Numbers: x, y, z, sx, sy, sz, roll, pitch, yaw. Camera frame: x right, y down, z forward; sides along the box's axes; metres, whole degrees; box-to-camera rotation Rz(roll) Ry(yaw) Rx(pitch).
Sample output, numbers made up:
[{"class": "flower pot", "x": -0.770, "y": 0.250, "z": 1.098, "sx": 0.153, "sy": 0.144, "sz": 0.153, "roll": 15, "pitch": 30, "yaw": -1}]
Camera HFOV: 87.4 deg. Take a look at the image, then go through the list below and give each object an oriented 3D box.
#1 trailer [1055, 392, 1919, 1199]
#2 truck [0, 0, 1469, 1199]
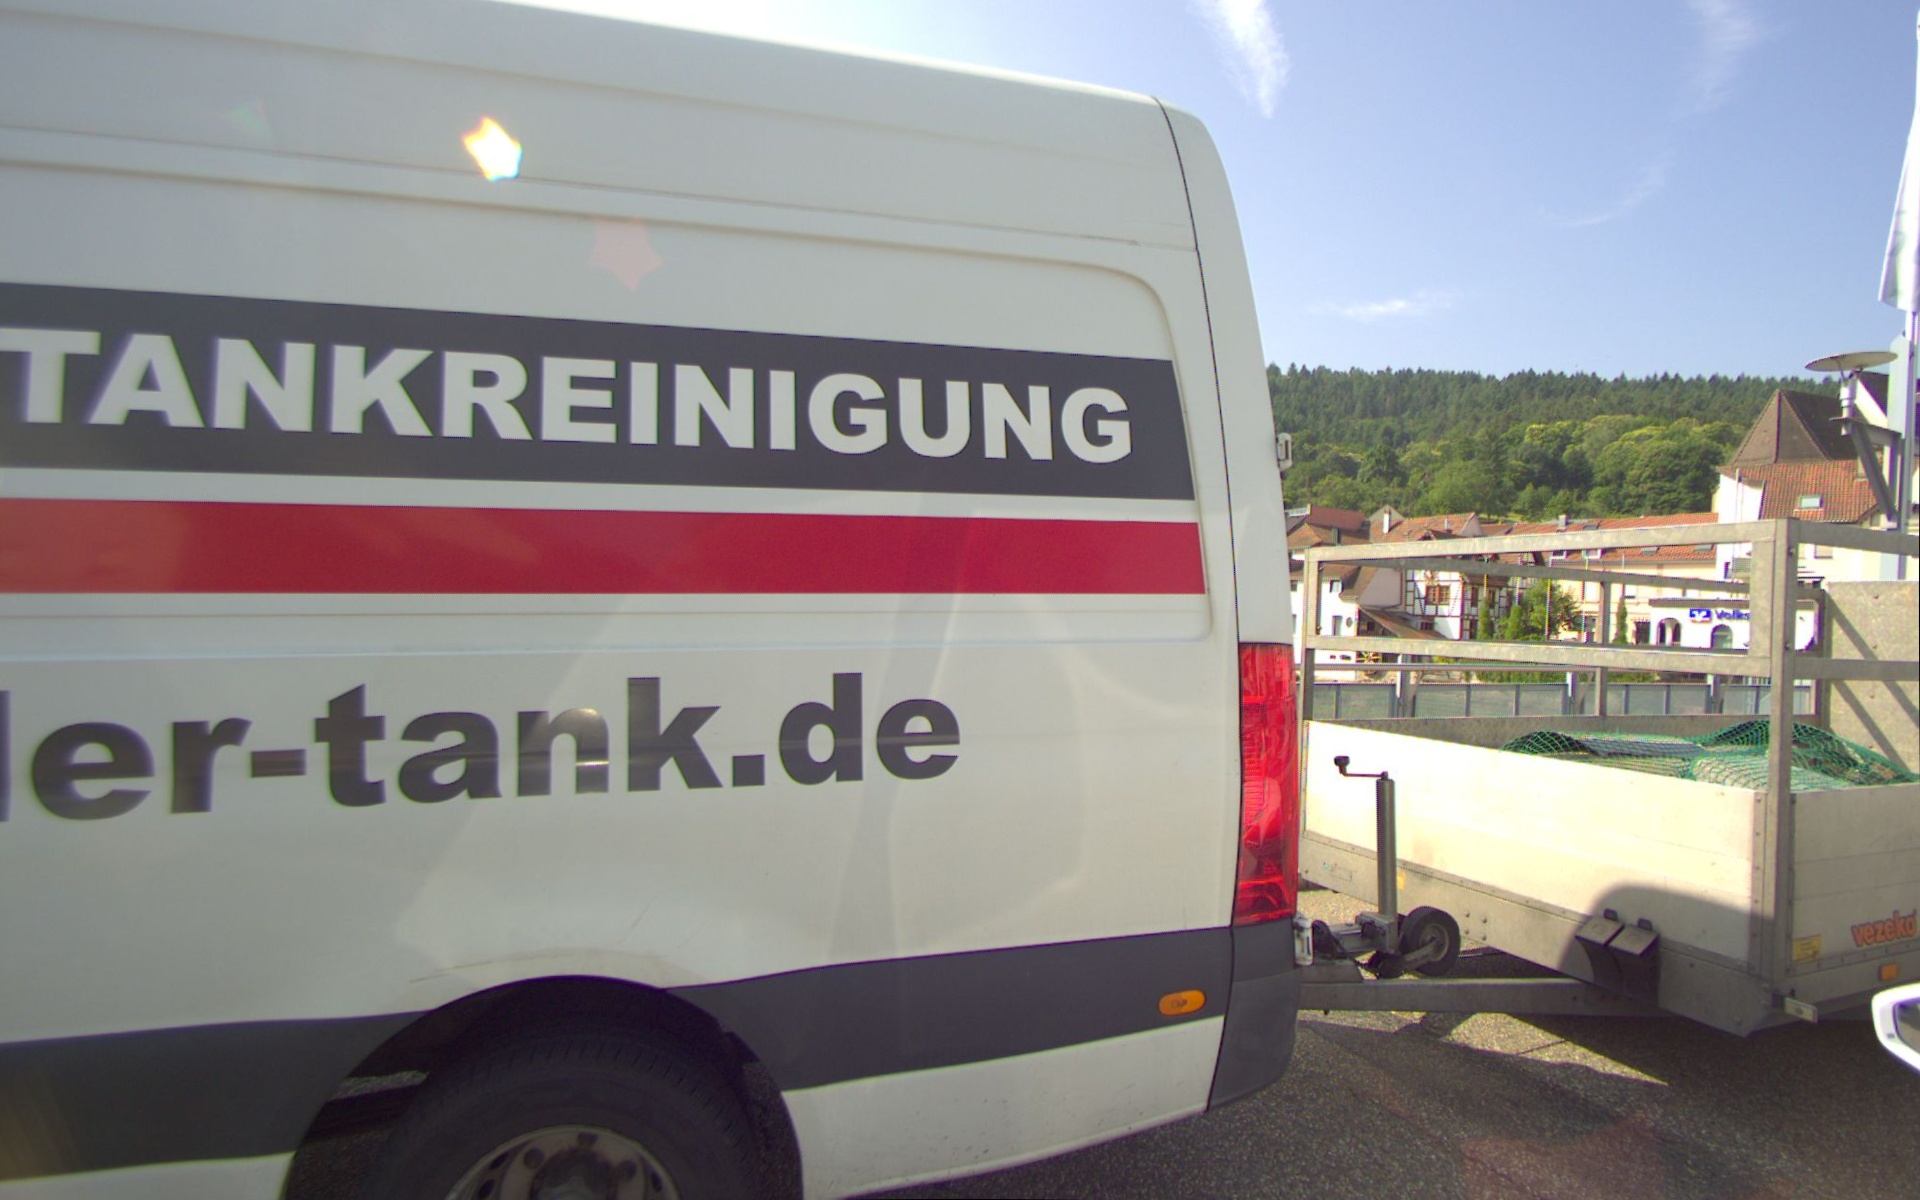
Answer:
[{"class": "trailer", "x": 3.482, "y": 0.593, "z": 4.257, "sx": 5.556, "sy": 1.852, "sz": 2.605, "roll": 2, "pitch": 0, "yaw": -22}, {"class": "truck", "x": -2.621, "y": 0.045, "z": 2.250, "sx": 7.010, "sy": 2.735, "sz": 2.106, "roll": 1, "pitch": 0, "yaw": -13}]
